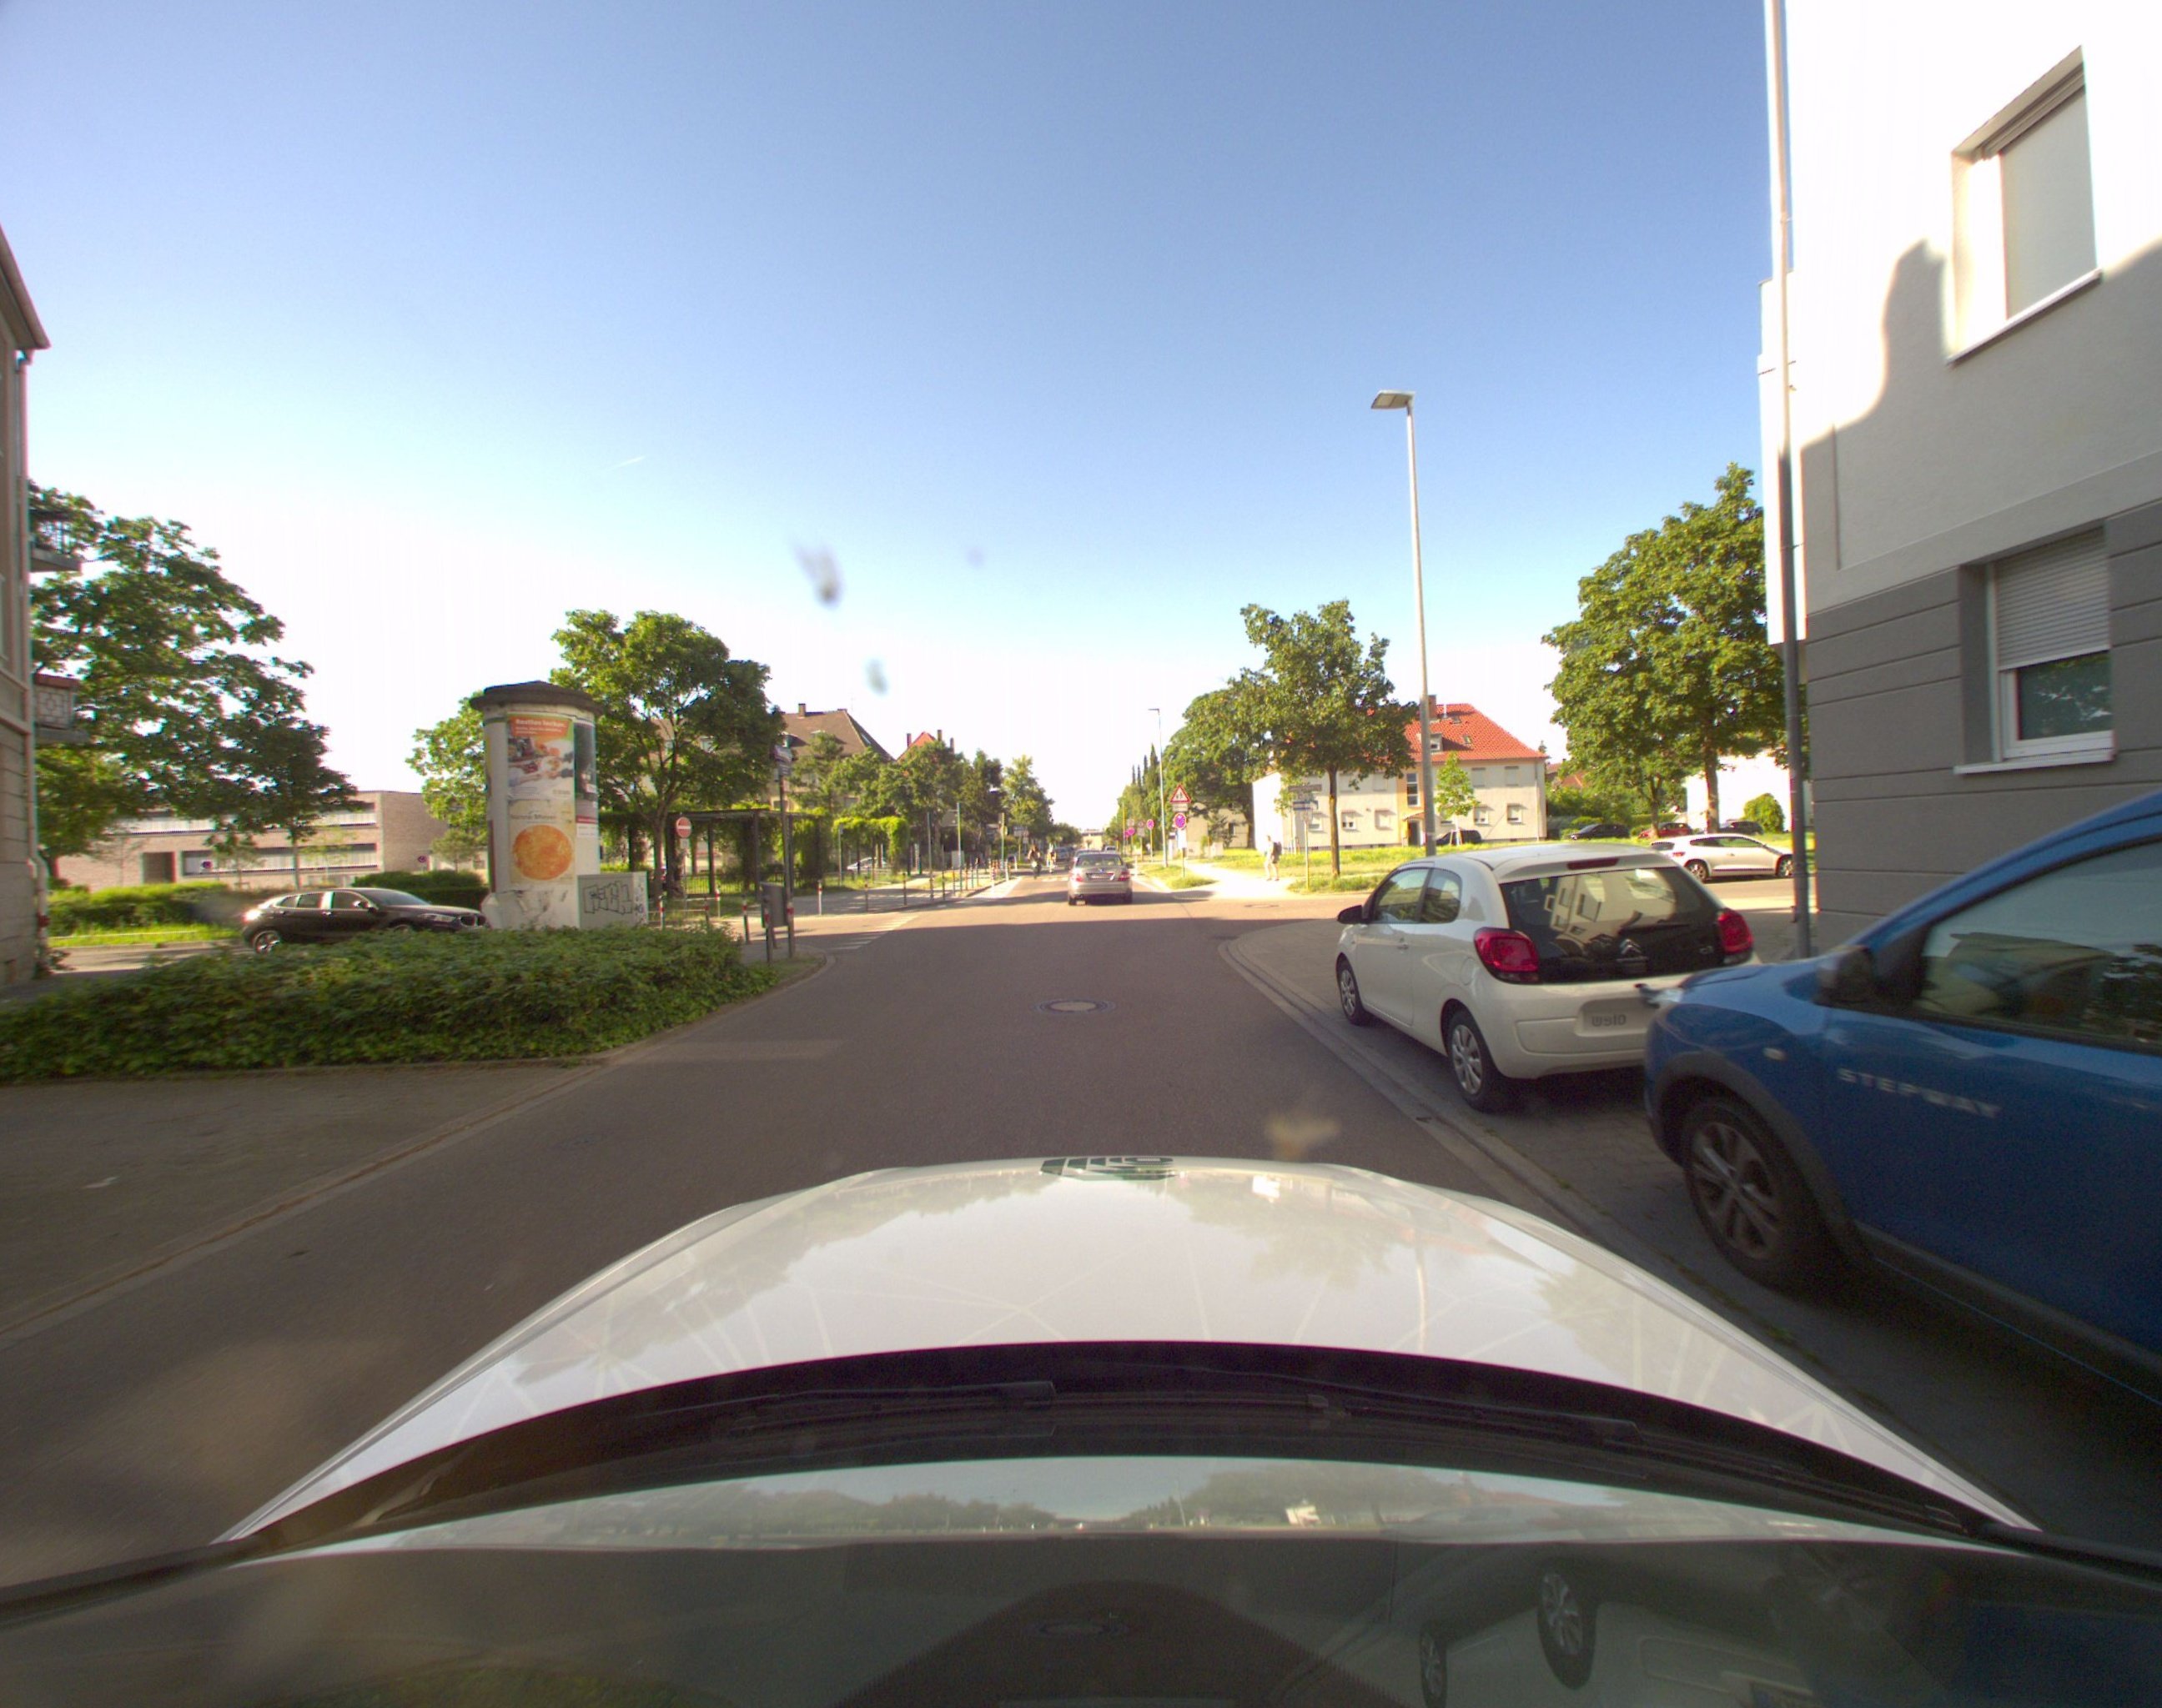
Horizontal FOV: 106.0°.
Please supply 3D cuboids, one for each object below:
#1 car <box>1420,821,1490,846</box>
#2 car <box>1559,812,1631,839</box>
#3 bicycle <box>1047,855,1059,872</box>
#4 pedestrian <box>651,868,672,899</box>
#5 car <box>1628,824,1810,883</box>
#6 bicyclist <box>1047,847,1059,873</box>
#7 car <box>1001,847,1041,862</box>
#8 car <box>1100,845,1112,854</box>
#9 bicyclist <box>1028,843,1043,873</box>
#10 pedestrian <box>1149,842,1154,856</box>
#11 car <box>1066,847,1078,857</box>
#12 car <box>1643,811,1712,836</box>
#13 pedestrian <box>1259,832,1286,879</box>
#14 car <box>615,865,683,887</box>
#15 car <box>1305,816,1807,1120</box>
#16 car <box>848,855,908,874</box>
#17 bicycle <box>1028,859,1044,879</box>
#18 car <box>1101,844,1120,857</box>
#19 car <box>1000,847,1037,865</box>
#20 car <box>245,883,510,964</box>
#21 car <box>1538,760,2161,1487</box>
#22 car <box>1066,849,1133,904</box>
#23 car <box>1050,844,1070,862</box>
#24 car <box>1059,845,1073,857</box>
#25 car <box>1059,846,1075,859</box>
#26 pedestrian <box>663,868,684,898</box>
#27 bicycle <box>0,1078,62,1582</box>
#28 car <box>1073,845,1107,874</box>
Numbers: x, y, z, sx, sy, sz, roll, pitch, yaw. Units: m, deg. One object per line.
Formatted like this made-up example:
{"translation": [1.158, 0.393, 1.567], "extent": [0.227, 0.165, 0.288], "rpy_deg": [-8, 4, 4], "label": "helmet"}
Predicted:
{"translation": [27.656, -1.486, 60.355], "extent": [4.270, 1.600, 1.901], "rpy_deg": [-3, 0, 2], "label": "car"}
{"translation": [38.140, -2.095, 60.504], "extent": [4.058, 1.784, 1.870], "rpy_deg": [-3, 0, 2], "label": "car"}
{"translation": [-1.663, 0.568, 48.620], "extent": [0.587, 0.931, 1.851], "rpy_deg": [-3, 1, 2], "label": "bicycle"}
{"translation": [-16.039, 1.117, 31.113], "extent": [0.544, 1.168, 0.483], "rpy_deg": [-1, -1, 2], "label": "pedestrian"}
{"translation": [18.063, 0.007, 23.179], "extent": [3.793, 1.391, 1.604], "rpy_deg": [-3, -3, 1], "label": "car"}
{"translation": [-1.661, 0.373, 48.656], "extent": [0.570, 1.509, 0.655], "rpy_deg": [-3, 0, 2], "label": "bicyclist"}
{"translation": [-6.136, 0.056, 83.264], "extent": [3.976, 1.524, 1.755], "rpy_deg": [0, -1, -2], "label": "car"}
{"translation": [4.539, -0.858, 146.865], "extent": [1.783, 1.532, 3.995], "rpy_deg": [-3, 0, -3], "label": "car"}
{"translation": [-2.343, 0.202, 42.079], "extent": [0.678, 1.509, 0.655], "rpy_deg": [-3, 0, 2], "label": "bicyclist"}
{"translation": [8.013, -0.529, 92.964], "extent": [0.508, 1.559, 0.643], "rpy_deg": [-1, -1, 2], "label": "pedestrian"}
{"translation": [-1.456, -0.295, 131.554], "extent": [1.783, 1.532, 3.995], "rpy_deg": [-3, 1, -3], "label": "car"}
{"translation": [44.148, -2.249, 60.338], "extent": [3.862, 1.550, 1.646], "rpy_deg": [-3, 0, 2], "label": "car"}
{"translation": [6.804, 0.060, 28.937], "extent": [0.640, 1.623, 0.621], "rpy_deg": [-3, 0, 39], "label": "pedestrian"}
{"translation": [-32.573, 1.640, 61.480], "extent": [3.977, 1.376, 1.865], "rpy_deg": [-3, 0, -2], "label": "car"}
{"translation": [2.965, 0.612, 6.087], "extent": [1.558, 1.410, 3.731], "rpy_deg": [-6, -1, 2], "label": "car"}
{"translation": [-15.199, 0.773, 61.149], "extent": [3.977, 1.376, 1.998], "rpy_deg": [0, -1, -2], "label": "car"}
{"translation": [-2.320, 0.761, 42.054], "extent": [0.587, 0.931, 1.851], "rpy_deg": [-3, 1, 2], "label": "bicycle"}
{"translation": [3.261, -0.420, 90.667], "extent": [1.719, 1.330, 3.995], "rpy_deg": [-3, 0, -3], "label": "car"}
{"translation": [-6.156, 0.197, 79.924], "extent": [3.489, 1.533, 1.641], "rpy_deg": [-3, 0, -6], "label": "car"}
{"translation": [-15.124, 1.543, 17.687], "extent": [4.122, 1.485, 1.806], "rpy_deg": [-3, -7, 1], "label": "car"}
{"translation": [2.932, 0.468, 1.537], "extent": [1.676, 1.435, 4.266], "rpy_deg": [-6, -1, 1], "label": "car"}
{"translation": [0.549, 0.612, 23.179], "extent": [1.720, 1.420, 3.962], "rpy_deg": [-1, -1, 2], "label": "car"}
{"translation": [-2.298, -0.127, 88.136], "extent": [1.869, 1.728, 3.995], "rpy_deg": [-3, 1, -3], "label": "car"}
{"translation": [-2.066, -0.359, 111.764], "extent": [1.783, 1.532, 3.995], "rpy_deg": [-3, 0, -3], "label": "car"}
{"translation": [-1.873, -0.241, 106.760], "extent": [1.783, 1.532, 3.995], "rpy_deg": [-3, 0, -3], "label": "car"}
{"translation": [-15.855, 1.122, 31.678], "extent": [0.544, 1.168, 0.483], "rpy_deg": [-1, -1, 2], "label": "pedestrian"}
{"translation": [-2.784, 1.087, 0.952], "extent": [0.717, 1.079, 1.891], "rpy_deg": [-3, 0, 2], "label": "bicycle"}
{"translation": [0.490, 0.305, 43.749], "extent": [1.701, 1.448, 4.202], "rpy_deg": [-1, -1, 0], "label": "car"}
